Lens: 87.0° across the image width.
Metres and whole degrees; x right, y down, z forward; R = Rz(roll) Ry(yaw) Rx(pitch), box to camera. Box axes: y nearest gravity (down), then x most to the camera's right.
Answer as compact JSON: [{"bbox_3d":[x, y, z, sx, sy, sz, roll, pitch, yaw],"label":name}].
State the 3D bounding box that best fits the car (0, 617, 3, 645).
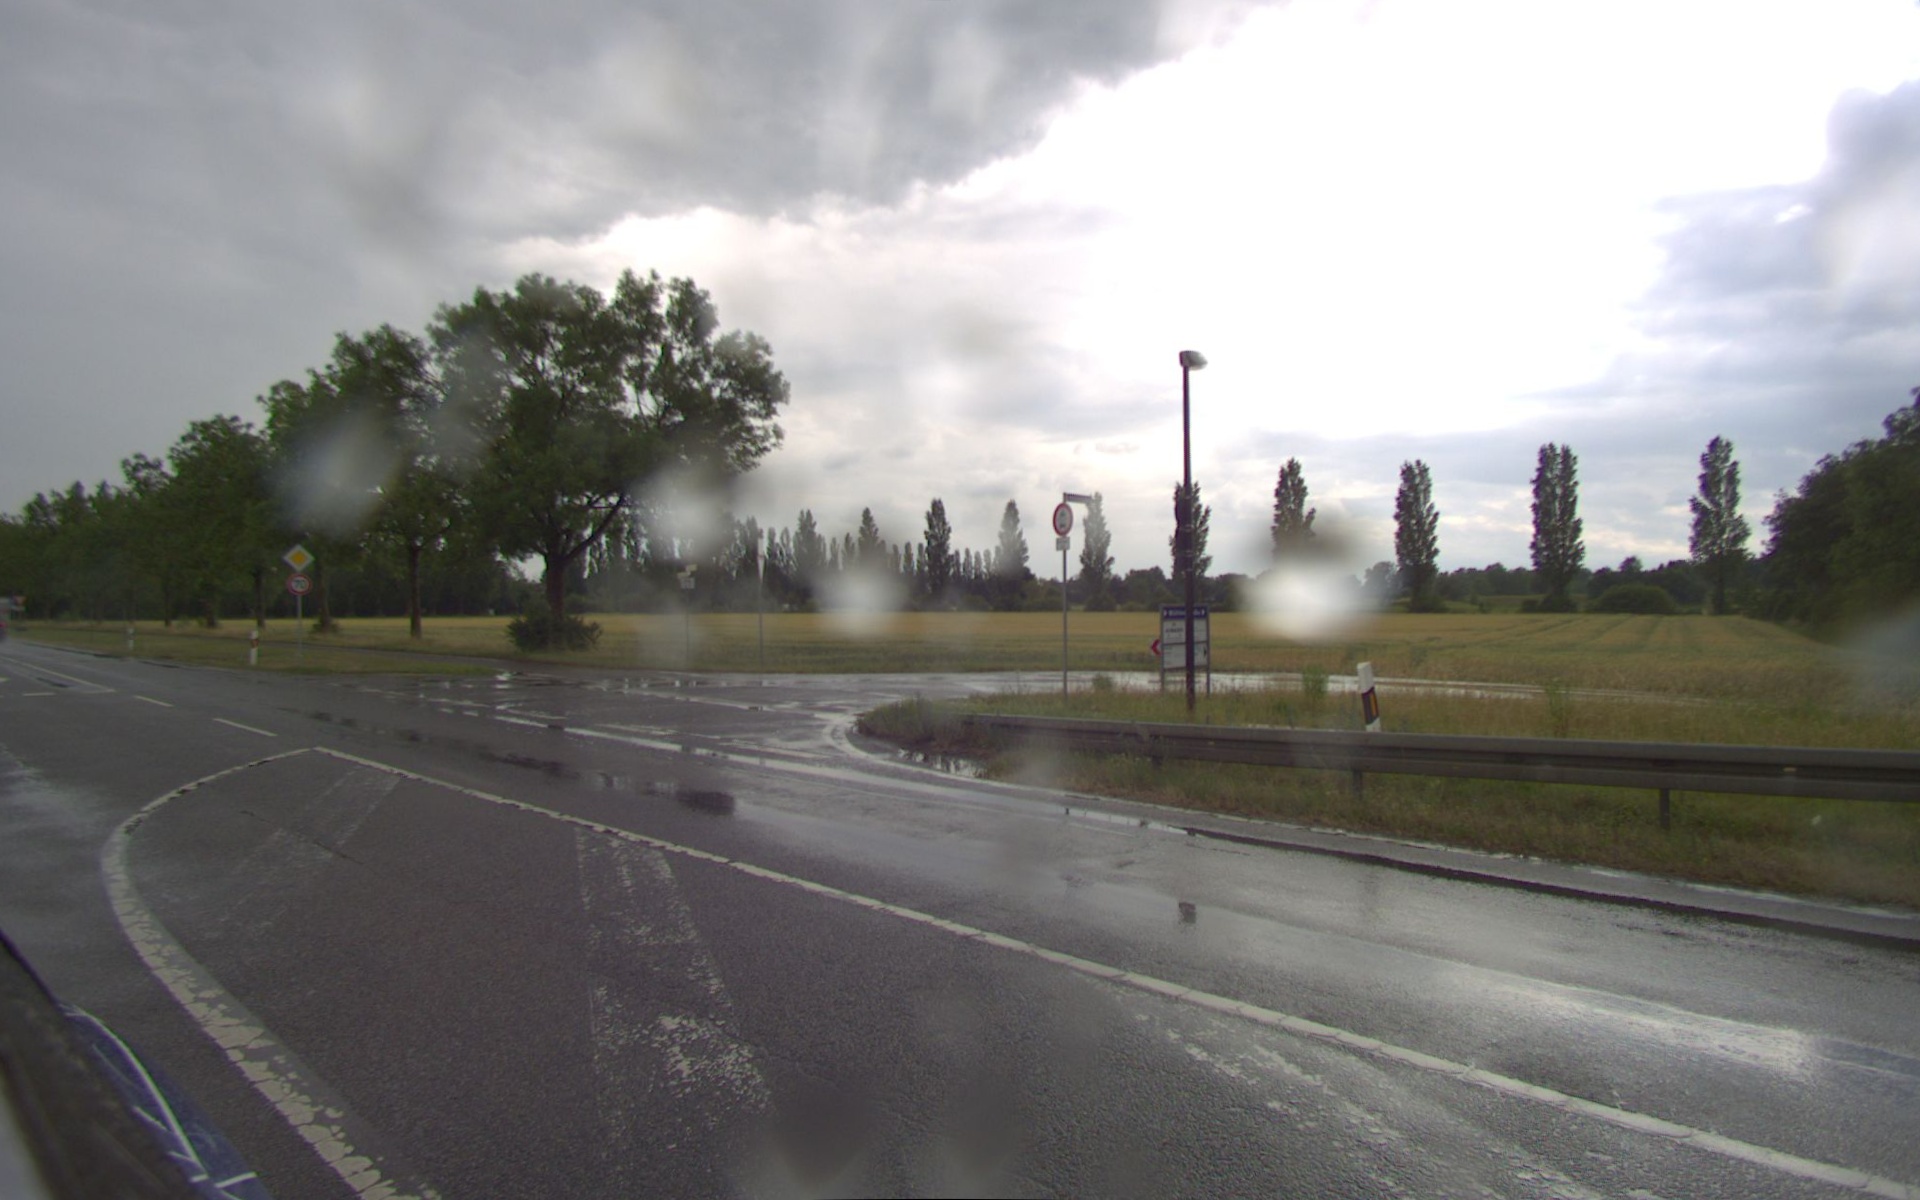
[{"bbox_3d":[-54.276,1.684,55.878,4.140,1.535,1.750,-1,-3,42],"label":"car"}]
